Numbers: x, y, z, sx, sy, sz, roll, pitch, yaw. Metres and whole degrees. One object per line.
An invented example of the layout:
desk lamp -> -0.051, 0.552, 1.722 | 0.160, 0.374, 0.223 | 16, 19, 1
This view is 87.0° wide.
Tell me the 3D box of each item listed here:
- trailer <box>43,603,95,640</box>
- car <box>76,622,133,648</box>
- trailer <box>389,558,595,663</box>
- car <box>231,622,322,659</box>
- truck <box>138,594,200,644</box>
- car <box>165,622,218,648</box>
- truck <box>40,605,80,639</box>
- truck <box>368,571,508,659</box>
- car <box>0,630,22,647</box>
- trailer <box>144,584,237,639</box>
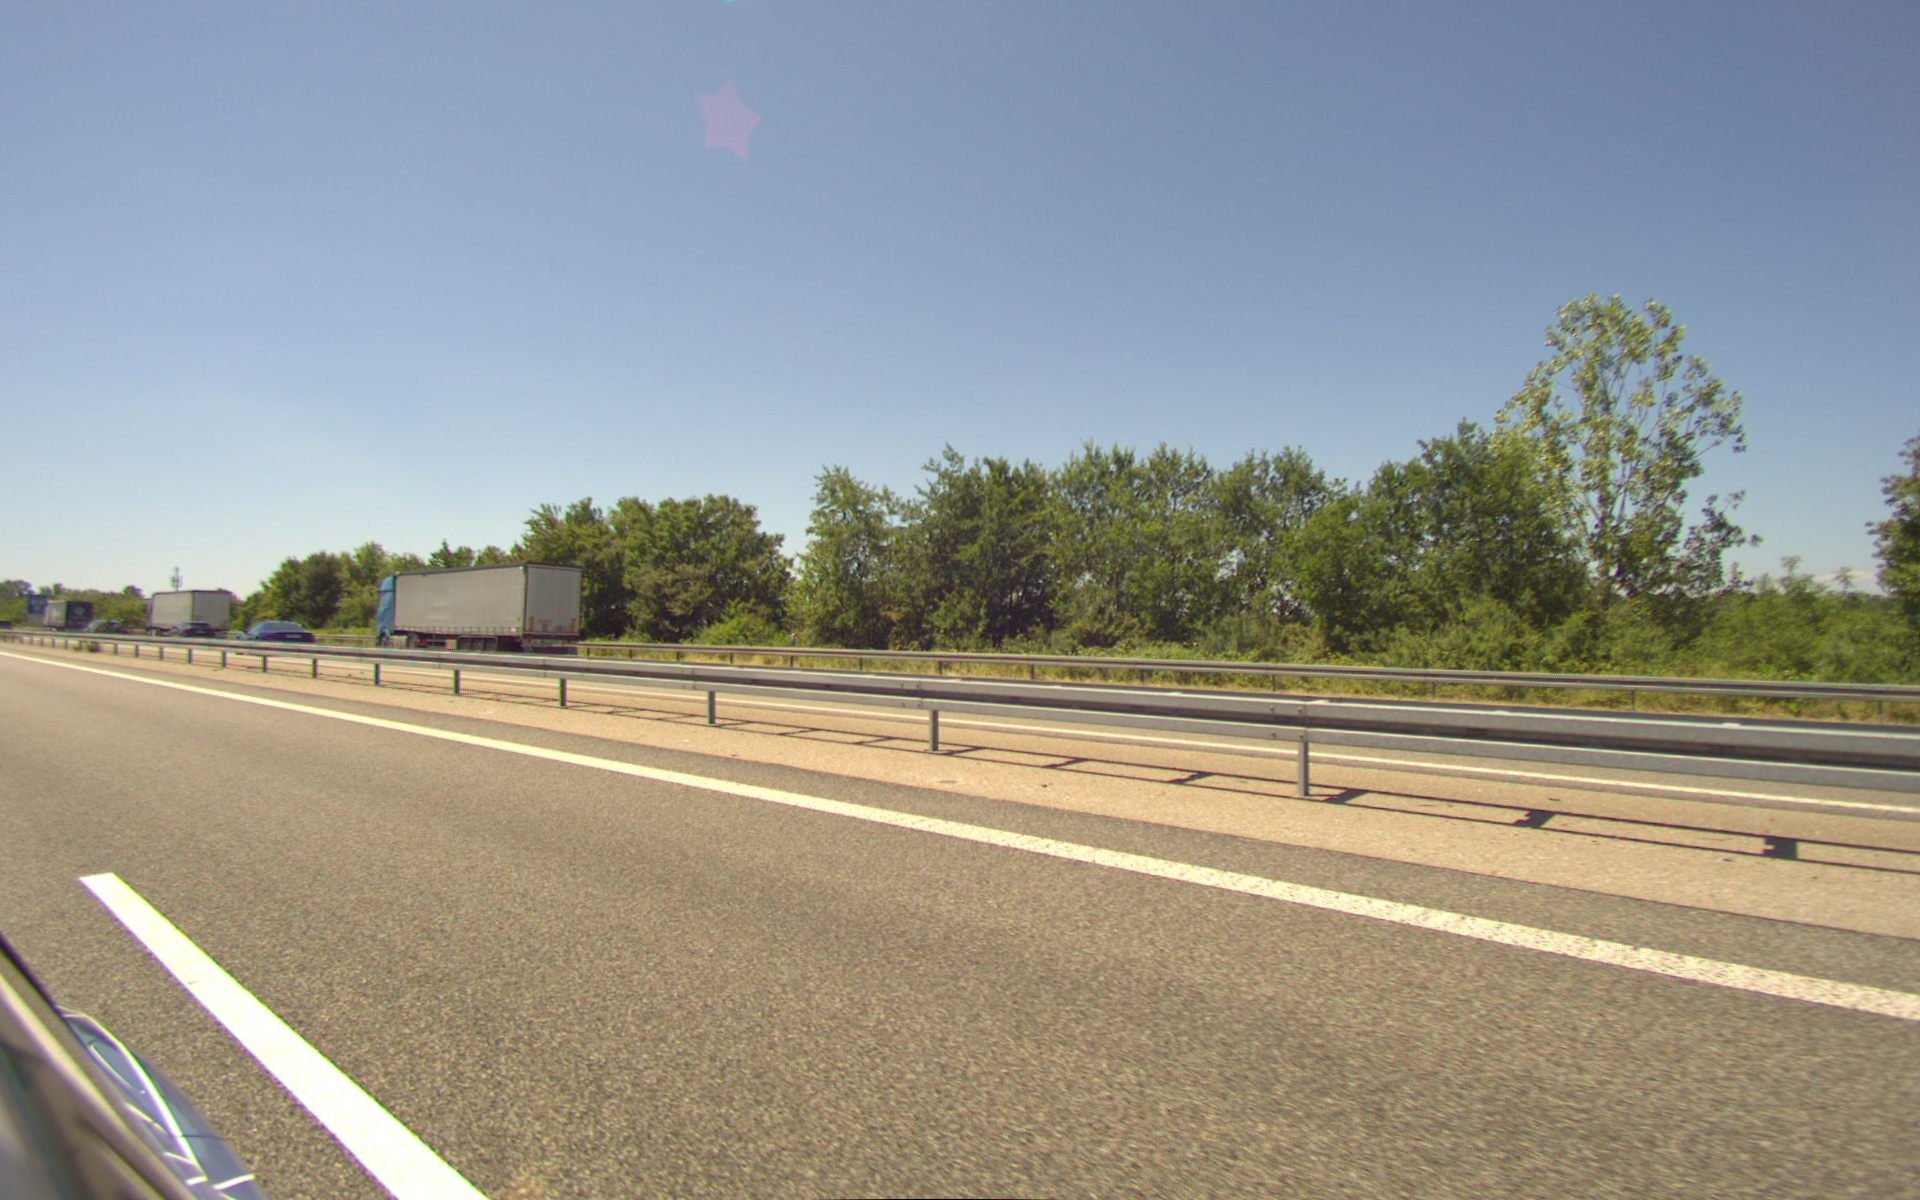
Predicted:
trailer -> -108.923, 2.674, 123.626 | 13.535, 4.218, 2.889 | -1, -4, 41
car -> -52.718, 2.125, 62.345 | 5.167, 1.474, 1.830 | -1, -4, 41
trailer -> -21.746, 0.638, 46.335 | 13.532, 4.218, 3.263 | -2, -3, 41
car -> -27.563, 1.622, 40.781 | 4.740, 1.406, 1.830 | -1, -4, 41
truck -> -68.457, 1.648, 87.543 | 6.191, 4.161, 3.164 | -2, -2, 41
car -> -49.757, 2.244, 65.479 | 4.311, 1.474, 1.831 | -1, 2, 41
truck -> -113.828, 2.777, 127.976 | 6.191, 4.161, 2.886 | -1, -4, 41
truck -> -25.864, 0.802, 49.906 | 8.723, 4.017, 3.218 | -2, -2, 41
car -> -126.006, 5.054, 133.904 | 5.354, 2.003, 2.206 | -1, 2, 41
trailer -> -63.353, 1.120, 83.107 | 13.532, 4.218, 3.314 | -2, -3, 41
